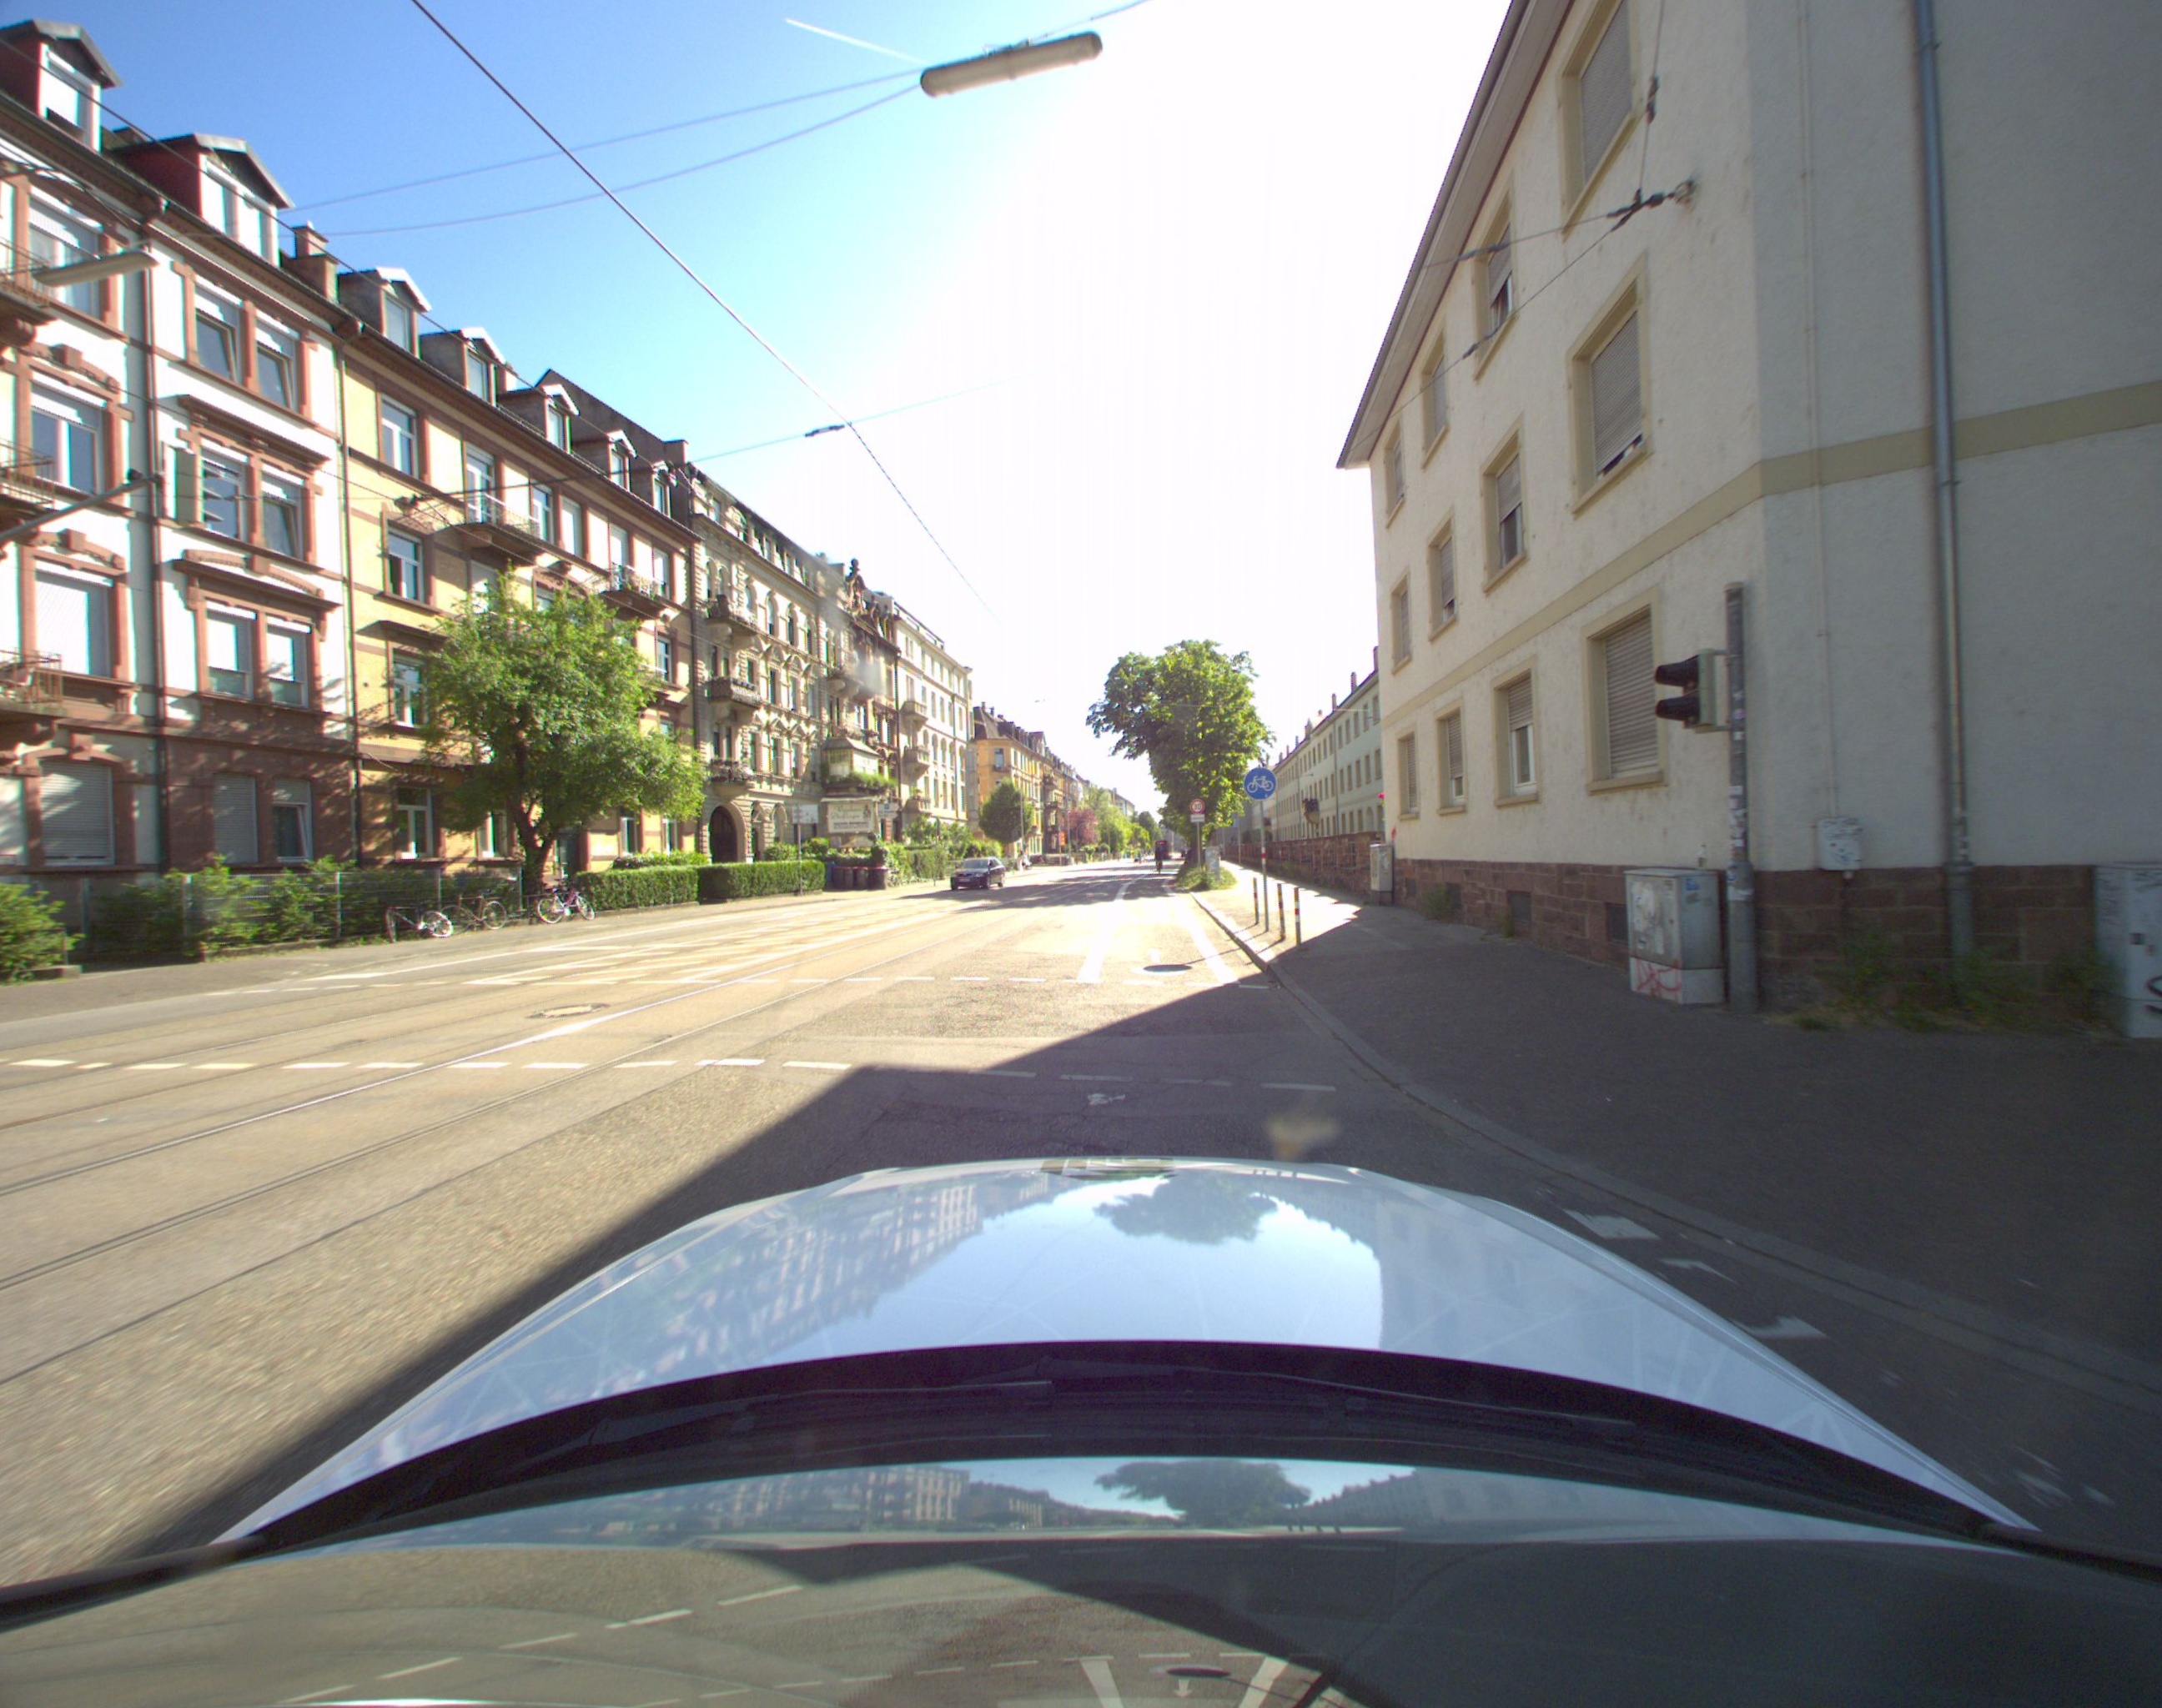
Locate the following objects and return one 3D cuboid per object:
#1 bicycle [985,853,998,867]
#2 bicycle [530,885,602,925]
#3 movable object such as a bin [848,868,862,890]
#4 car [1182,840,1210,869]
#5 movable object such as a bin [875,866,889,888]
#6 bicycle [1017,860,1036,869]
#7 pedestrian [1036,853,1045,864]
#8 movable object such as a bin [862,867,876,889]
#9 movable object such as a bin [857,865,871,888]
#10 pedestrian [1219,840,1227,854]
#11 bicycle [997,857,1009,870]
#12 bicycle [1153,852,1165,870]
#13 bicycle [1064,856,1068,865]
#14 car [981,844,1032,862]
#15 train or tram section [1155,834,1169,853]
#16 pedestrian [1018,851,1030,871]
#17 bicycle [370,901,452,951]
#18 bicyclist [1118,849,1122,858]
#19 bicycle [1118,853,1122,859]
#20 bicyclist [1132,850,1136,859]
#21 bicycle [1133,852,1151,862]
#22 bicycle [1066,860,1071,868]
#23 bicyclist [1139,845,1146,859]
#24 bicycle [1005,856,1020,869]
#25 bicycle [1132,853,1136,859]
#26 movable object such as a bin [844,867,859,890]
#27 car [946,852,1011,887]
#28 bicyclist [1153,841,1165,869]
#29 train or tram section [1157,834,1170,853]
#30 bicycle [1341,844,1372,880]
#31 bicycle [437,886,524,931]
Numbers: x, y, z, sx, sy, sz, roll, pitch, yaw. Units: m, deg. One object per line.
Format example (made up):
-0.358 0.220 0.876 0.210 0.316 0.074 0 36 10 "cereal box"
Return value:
-7.051 0.460 64.147 0.560 1.033 1.771 -1 1 7 "bicycle"
-13.652 1.338 21.664 0.339 0.926 1.949 -1 0 12 "bicycle"
-11.171 1.221 40.231 0.476 1.086 0.542 -1 0 9 "movable object such as a bin"
7.502 0.014 53.435 1.734 1.766 4.487 -1 1 7 "car"
-9.842 1.146 40.354 0.476 1.086 0.542 -1 0 9 "movable object such as a bin"
-5.554 1.054 82.646 1.793 0.914 0.615 -1 -2 -28 "bicycle"
-5.143 0.609 103.496 0.895 1.352 0.578 -4 0 9 "pedestrian"
-10.467 1.174 40.185 0.476 1.086 0.542 -1 0 9 "movable object such as a bin"
-10.565 1.094 39.602 0.476 1.086 0.542 -1 0 9 "movable object such as a bin"
16.629 -0.822 95.498 0.755 1.724 0.583 -1 0 37 "pedestrian"
-6.452 0.765 67.294 0.564 1.033 1.758 2 1 -17 "bicycle"
5.241 0.467 54.626 0.688 1.112 1.722 -1 0 8 "bicycle"
-1.932 0.816 102.623 0.368 1.126 0.810 -1 0 8 "bicycle"
-7.022 -0.099 77.071 4.418 1.643 1.972 -1 0 10 "car"
14.532 -1.871 145.657 2.142 3.431 6.625 -1 0 8 "train or tram section"
-4.833 0.577 69.254 0.825 1.723 1.084 -1 -1 5 "pedestrian"
-14.414 1.535 17.554 0.339 0.926 1.457 -1 0 12 "bicycle"
6.585 -0.093 137.573 0.461 1.618 0.746 -4 0 8 "bicyclist"
6.606 0.338 137.644 0.457 0.926 2.208 -4 0 8 "bicycle"
10.755 0.056 166.363 0.656 1.801 0.617 -4 -1 8 "bicyclist"
6.577 0.320 87.756 1.910 1.112 0.692 -1 0 -9 "bicycle"
-1.599 1.295 103.533 0.333 1.001 1.874 -1 0 8 "bicycle"
6.637 -0.203 87.785 0.613 1.468 0.635 -1 0 -7 "bicyclist"
-5.789 0.689 68.538 0.566 1.033 1.751 -1 2 -29 "bicycle"
10.768 0.425 166.361 0.688 1.112 1.722 -3 0 8 "bicycle"
-11.180 1.179 39.655 0.476 1.086 0.542 -1 0 9 "movable object such as a bin"
-4.767 0.669 38.743 1.821 1.518 4.978 0 1 8 "car"
5.229 0.054 54.556 0.723 1.848 0.838 -1 0 7 "bicyclist"
15.402 -1.952 152.235 2.142 3.431 6.625 -1 0 8 "train or tram section"
8.658 0.237 25.635 0.457 1.092 1.674 -1 0 2 "bicycle"
-14.450 1.294 19.664 0.339 0.926 1.949 -1 0 12 "bicycle"
